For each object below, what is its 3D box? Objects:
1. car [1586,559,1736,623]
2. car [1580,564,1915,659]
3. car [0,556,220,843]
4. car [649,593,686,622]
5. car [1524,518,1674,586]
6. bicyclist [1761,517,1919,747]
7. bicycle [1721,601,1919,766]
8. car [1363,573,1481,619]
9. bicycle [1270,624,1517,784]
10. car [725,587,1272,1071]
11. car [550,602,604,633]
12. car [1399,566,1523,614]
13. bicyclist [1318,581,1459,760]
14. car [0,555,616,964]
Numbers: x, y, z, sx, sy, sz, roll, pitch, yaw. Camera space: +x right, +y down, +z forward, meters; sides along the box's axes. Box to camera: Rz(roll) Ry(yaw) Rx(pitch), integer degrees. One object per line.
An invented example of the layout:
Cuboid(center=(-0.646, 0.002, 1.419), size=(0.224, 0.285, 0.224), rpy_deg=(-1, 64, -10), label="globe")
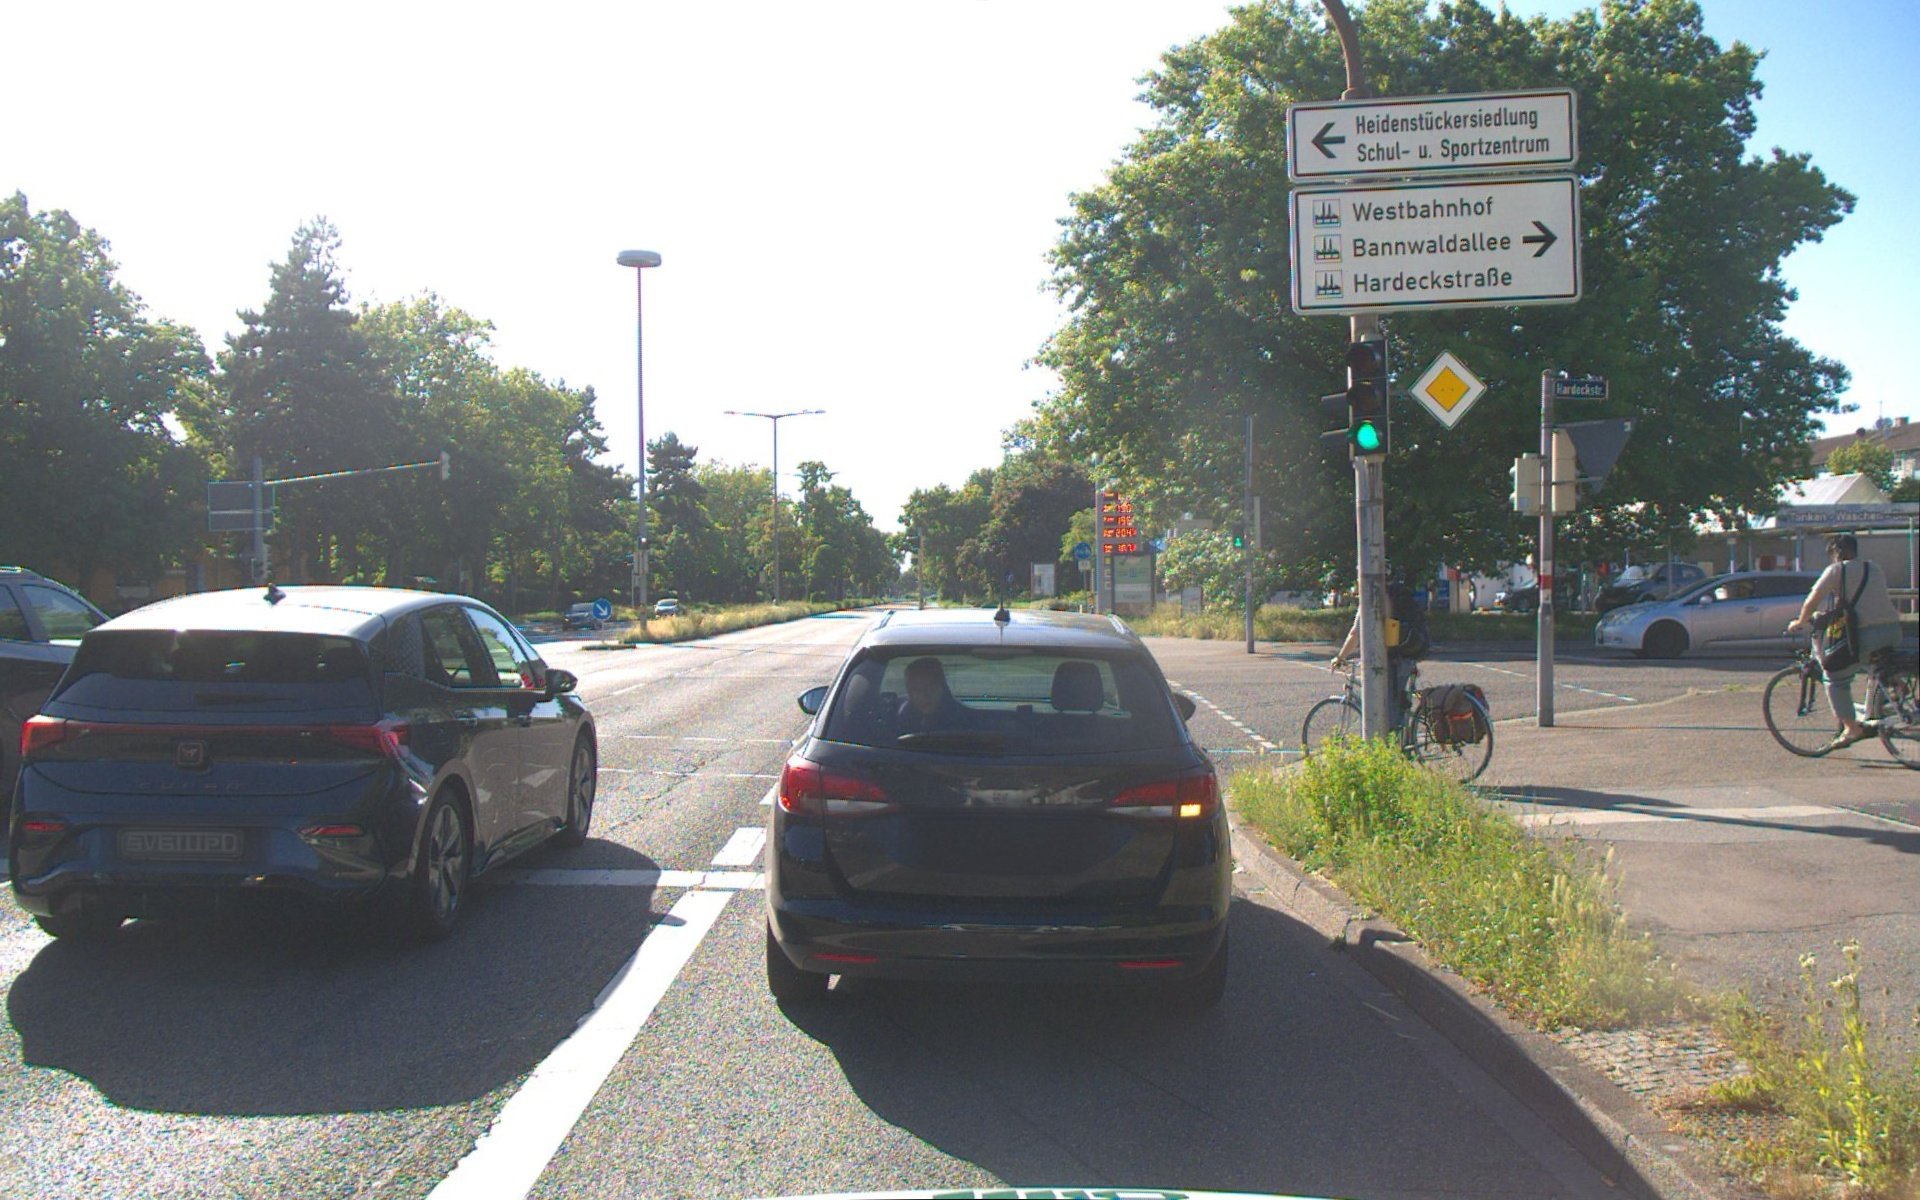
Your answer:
Cuboid(center=(20.066, -0.272, 47.319), size=(3.934, 1.709, 1.732), rpy_deg=(-1, 0, -24), label="car")
Cuboid(center=(13.586, 0.195, 28.835), size=(4.897, 1.512, 2.002), rpy_deg=(-1, 0, 11), label="car")
Cuboid(center=(-6.655, 0.613, 10.891), size=(1.768, 1.719, 3.999), rpy_deg=(-1, 0, -1), label="car")
Cuboid(center=(-21.159, 0.526, 119.645), size=(1.953, 2.049, 3.999), rpy_deg=(-2, 0, -1), label="car")
Cuboid(center=(18.975, -1.394, 49.118), size=(3.935, 1.780, 1.985), rpy_deg=(2, -1, -24), label="car")
Cuboid(center=(6.563, 0.235, 12.237), size=(0.569, 1.609, 0.993), rpy_deg=(-2, -1, -14), label="bicyclist")
Cuboid(center=(6.579, 0.592, 12.228), size=(0.569, 1.117, 1.980), rpy_deg=(-2, -1, -14), label="bicycle")
Cuboid(center=(16.528, -0.136, 59.189), size=(3.837, 1.544, 1.732), rpy_deg=(-1, 0, -24), label="car")
Cuboid(center=(3.248, 0.780, 12.517), size=(0.533, 1.117, 1.748), rpy_deg=(-1, -2, -44), label="bicycle")
Cuboid(center=(0.100, 0.739, 7.334), size=(1.720, 1.522, 4.206), rpy_deg=(0, 0, -1), label="car")
Cuboid(center=(-20.462, 0.931, 88.519), size=(1.953, 1.557, 3.999), rpy_deg=(-2, 0, -1), label="car")
Cuboid(center=(17.000, -0.341, 56.114), size=(3.837, 1.544, 1.732), rpy_deg=(-1, 0, -24), label="car")
Cuboid(center=(3.241, 0.529, 12.520), size=(0.533, 1.299, 0.816), rpy_deg=(-1, -2, -44), label="bicyclist")
Cuboid(center=(-3.038, 0.643, 8.633), size=(1.650, 1.608, 4.206), rpy_deg=(0, 0, -1), label="car")
